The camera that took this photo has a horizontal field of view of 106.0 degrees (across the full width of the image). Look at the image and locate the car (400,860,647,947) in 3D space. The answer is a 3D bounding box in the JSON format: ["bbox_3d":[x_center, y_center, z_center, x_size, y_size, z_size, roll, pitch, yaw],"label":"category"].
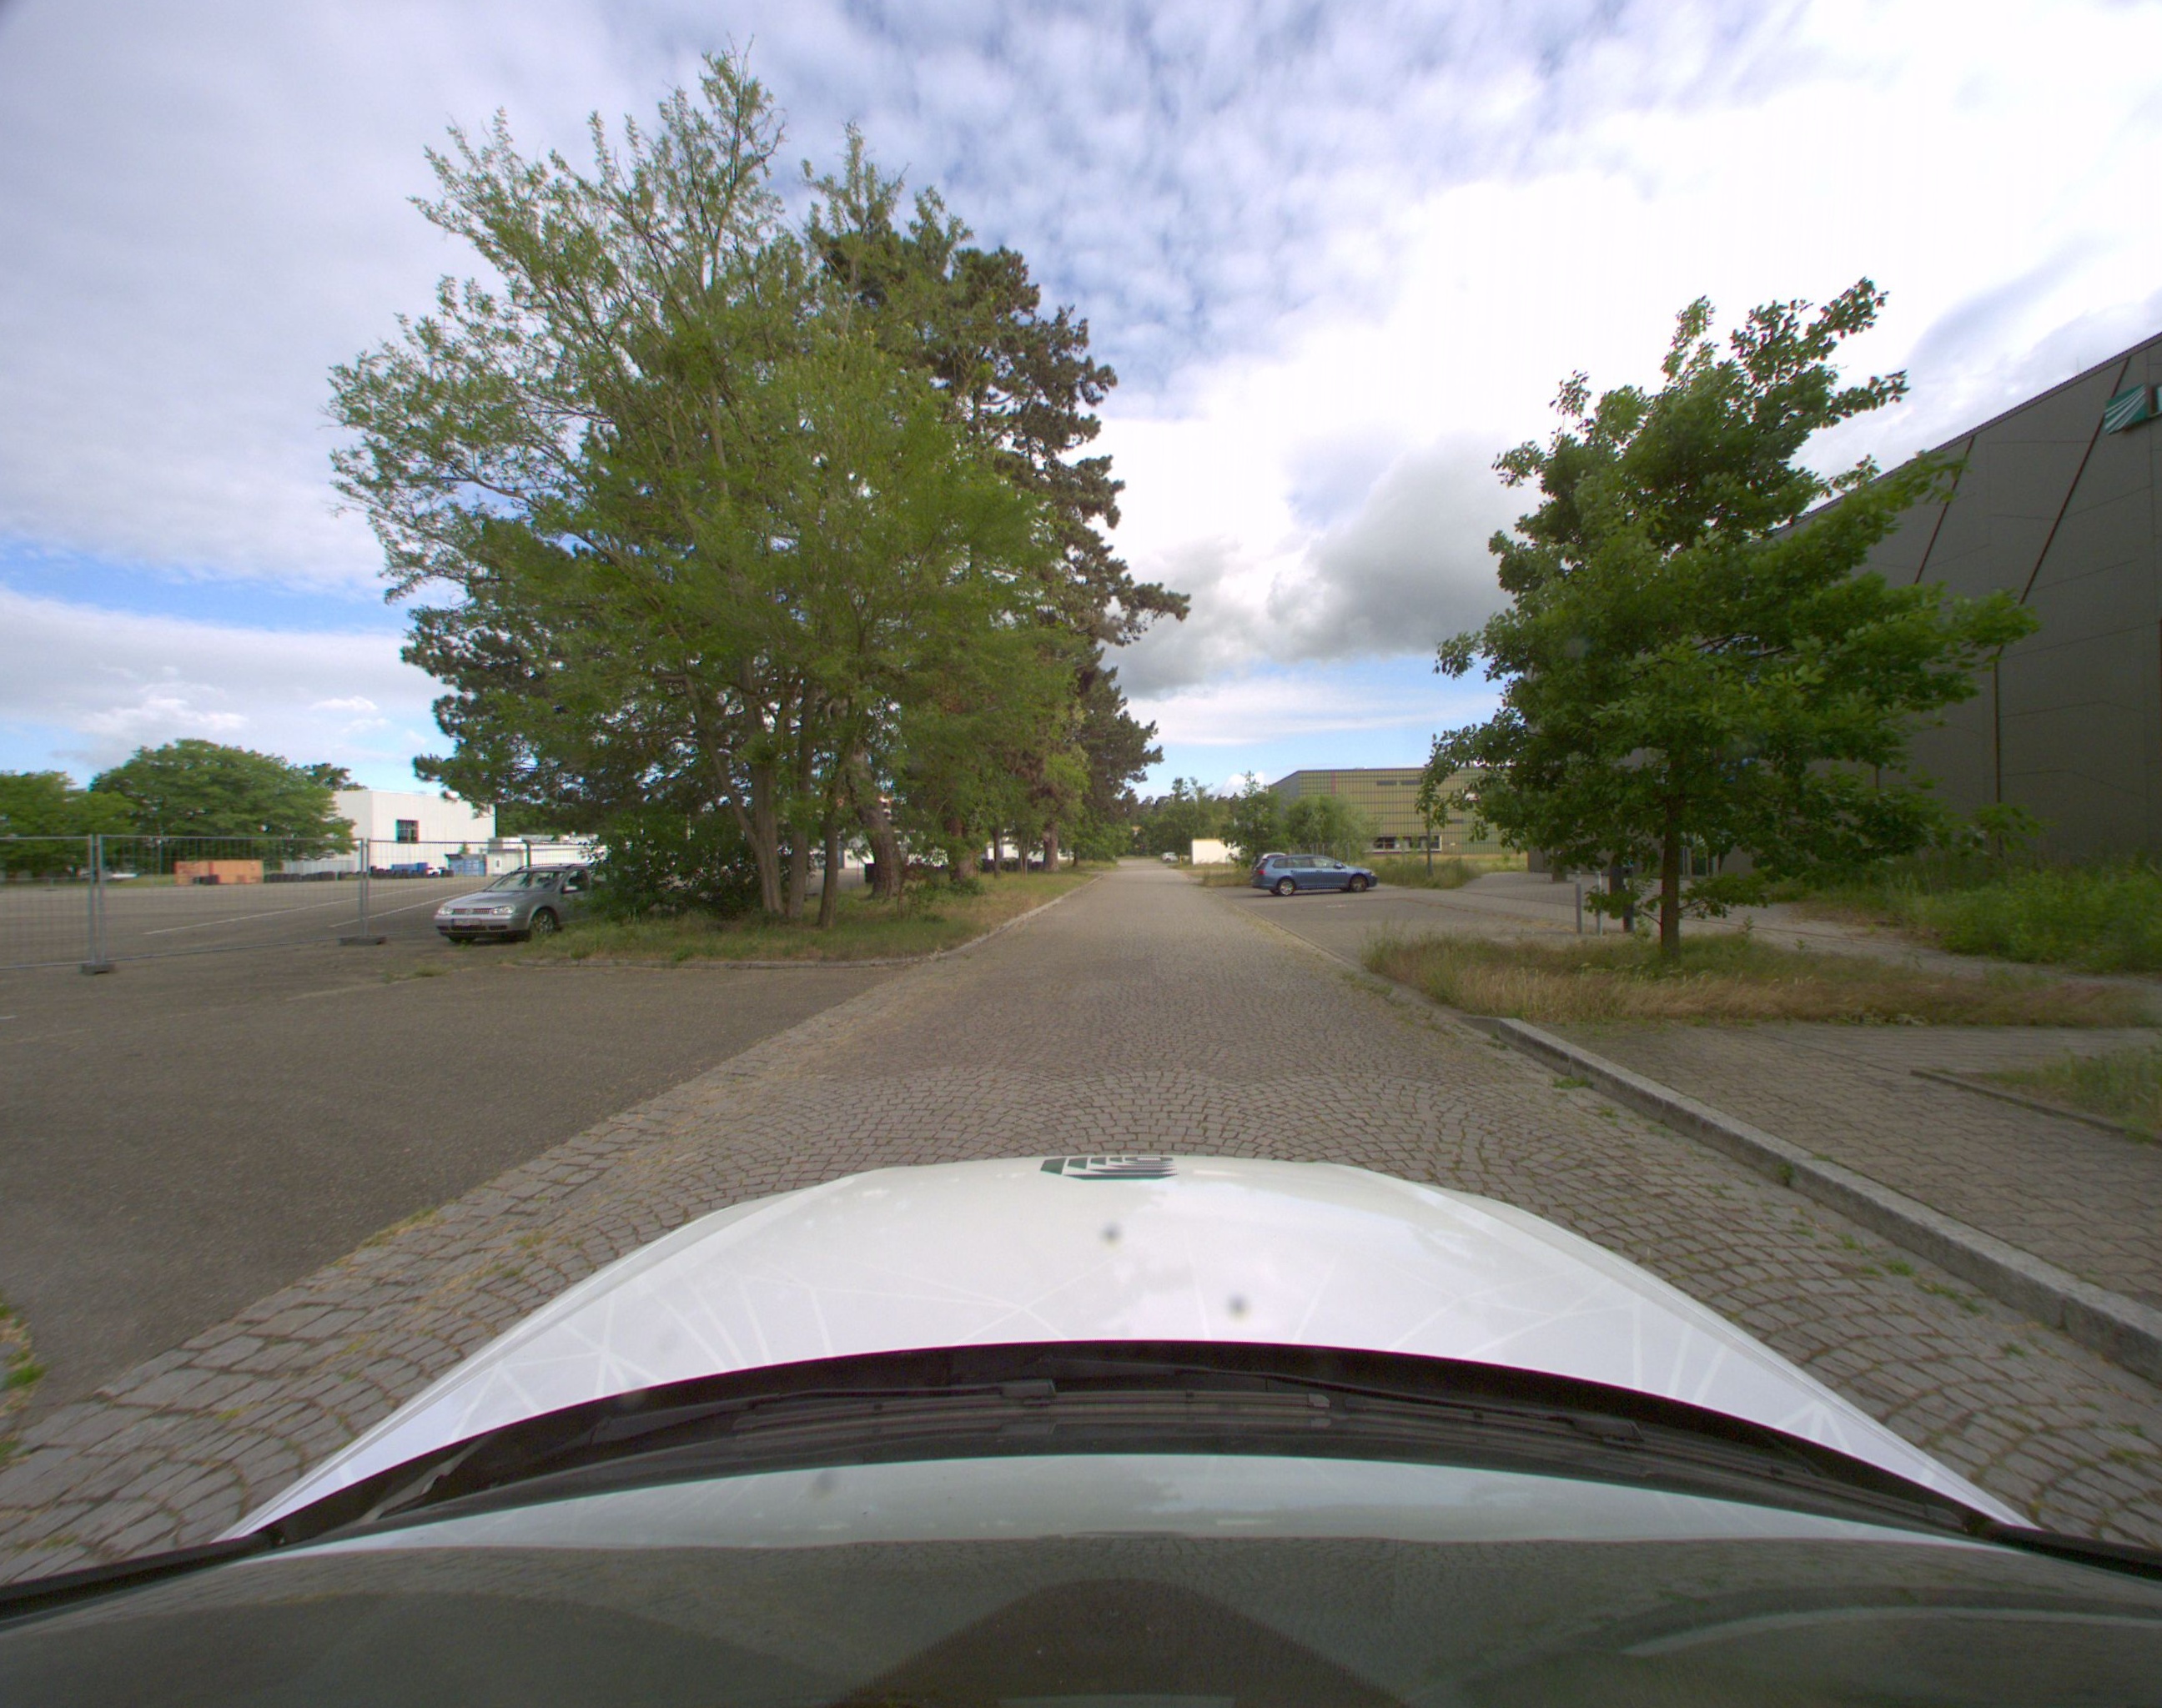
[{"bbox_3d":[-11.041,0.891,16.607,1.912,1.477,4.371,-1,0,2],"label":"car"}]

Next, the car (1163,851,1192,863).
[{"bbox_3d":[14.651,0.479,123.681,4.336,1.687,1.927,-1,0,3],"label":"car"}]

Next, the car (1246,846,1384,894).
[{"bbox_3d":[8.598,0.574,30.187,4.502,1.531,2.000,-2,0,0],"label":"car"}]

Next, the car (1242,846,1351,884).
[{"bbox_3d":[9.847,0.491,37.507,4.497,1.531,2.003,-2,0,4],"label":"car"}]

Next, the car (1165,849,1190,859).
[{"bbox_3d":[17.122,0.039,144.586,4.333,1.780,1.928,-1,0,5],"label":"car"}]
